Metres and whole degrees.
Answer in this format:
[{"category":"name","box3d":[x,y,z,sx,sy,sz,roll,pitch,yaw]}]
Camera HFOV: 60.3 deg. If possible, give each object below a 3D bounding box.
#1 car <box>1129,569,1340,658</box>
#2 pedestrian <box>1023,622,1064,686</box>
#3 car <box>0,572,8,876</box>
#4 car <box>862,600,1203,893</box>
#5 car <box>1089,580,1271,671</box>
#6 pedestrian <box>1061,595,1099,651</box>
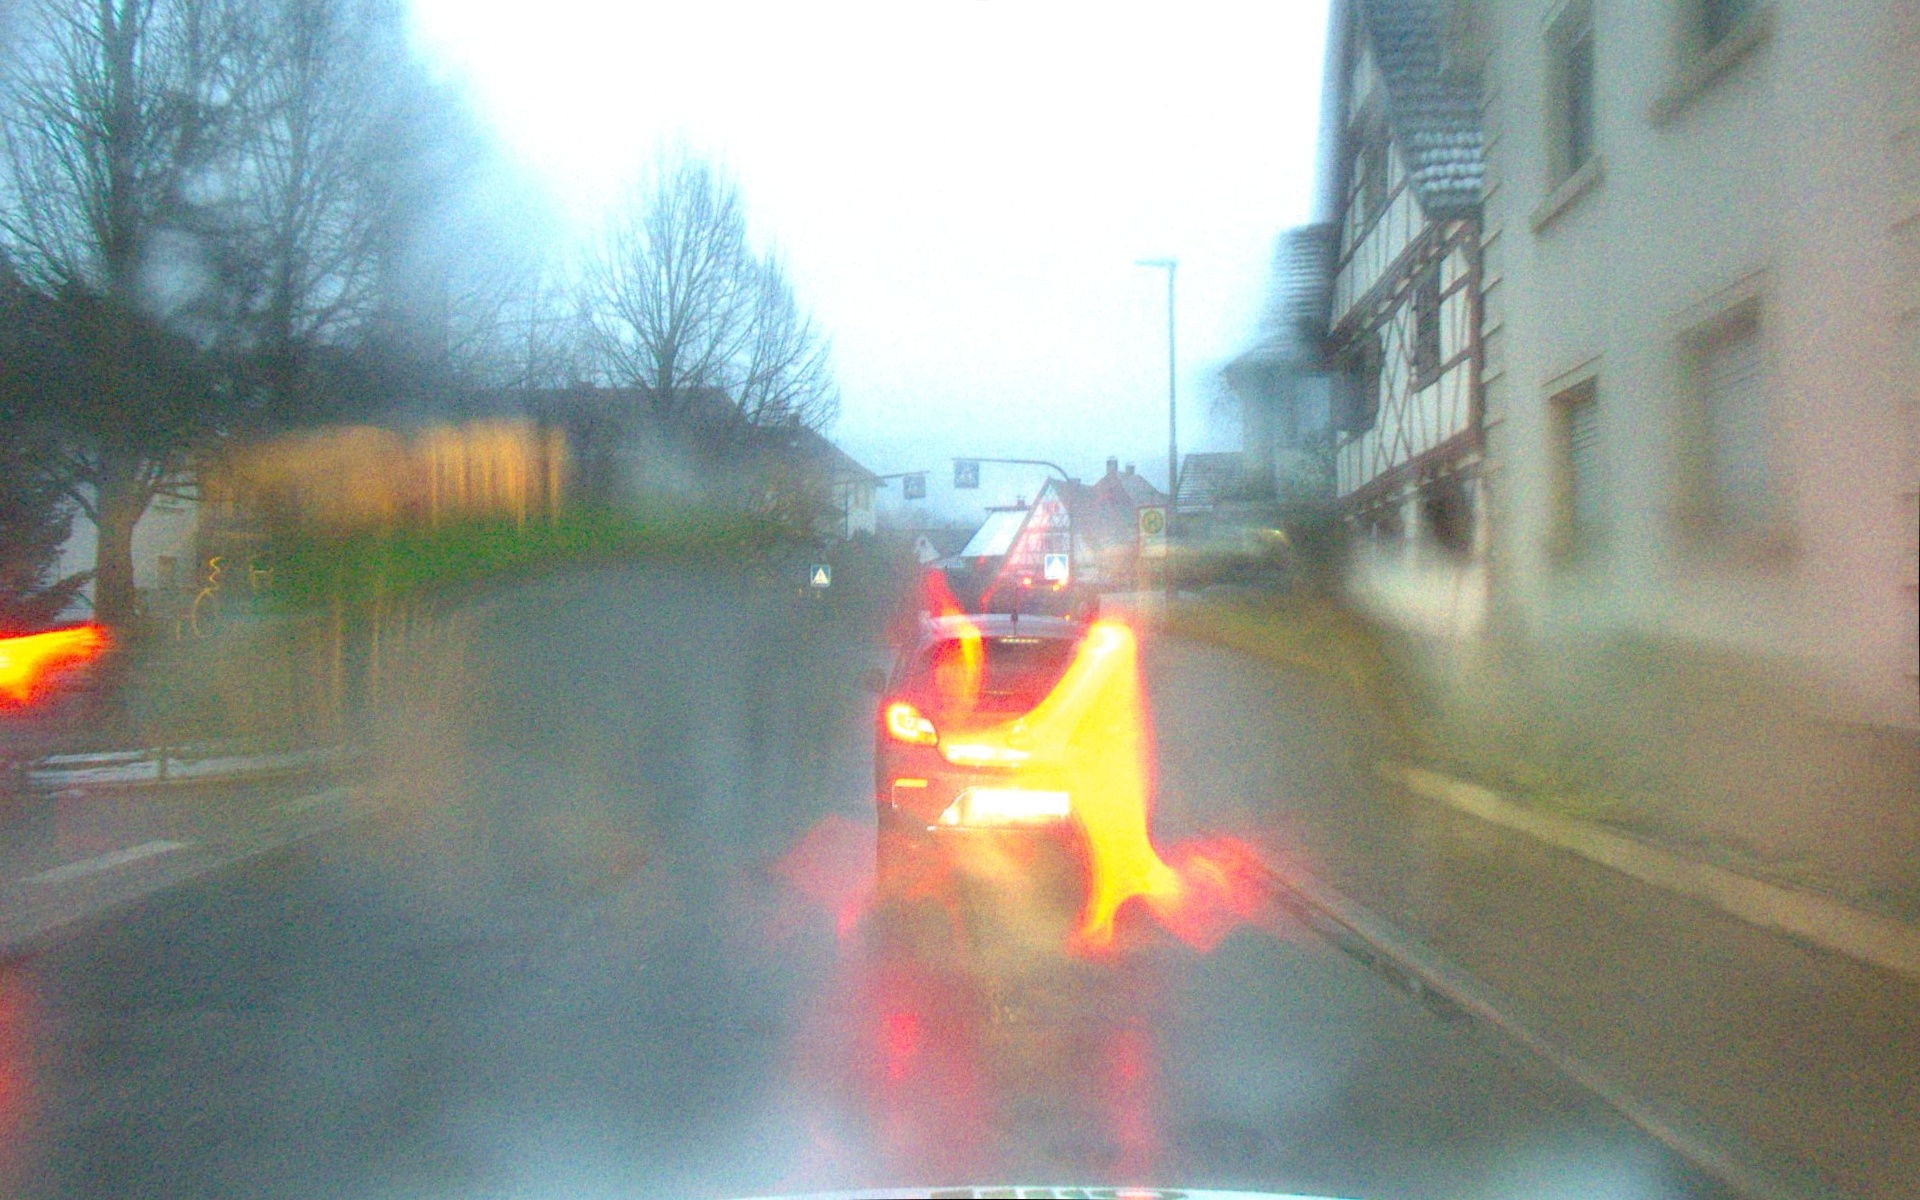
[{"category":"car","box3d":[6.682,0.337,40.224,4.874,1.922,1.938,-2,-1,11]},{"category":"pedestrian","box3d":[2.399,1.557,47.547,0.861,1.765,0.956,-4,-1,19]},{"category":"car","box3d":[-6.582,0.595,8.053,3.230,1.534,1.503,1,0,15]},{"category":"car","box3d":[0.353,0.777,10.639,1.759,1.502,3.999,1,0,-1]},{"category":"car","box3d":[5.005,0.586,37.791,3.956,1.875,1.865,-2,-1,7]},{"category":"pedestrian","box3d":[3.767,0.716,51.840,0.849,1.696,0.992,-4,-1,19]}]
